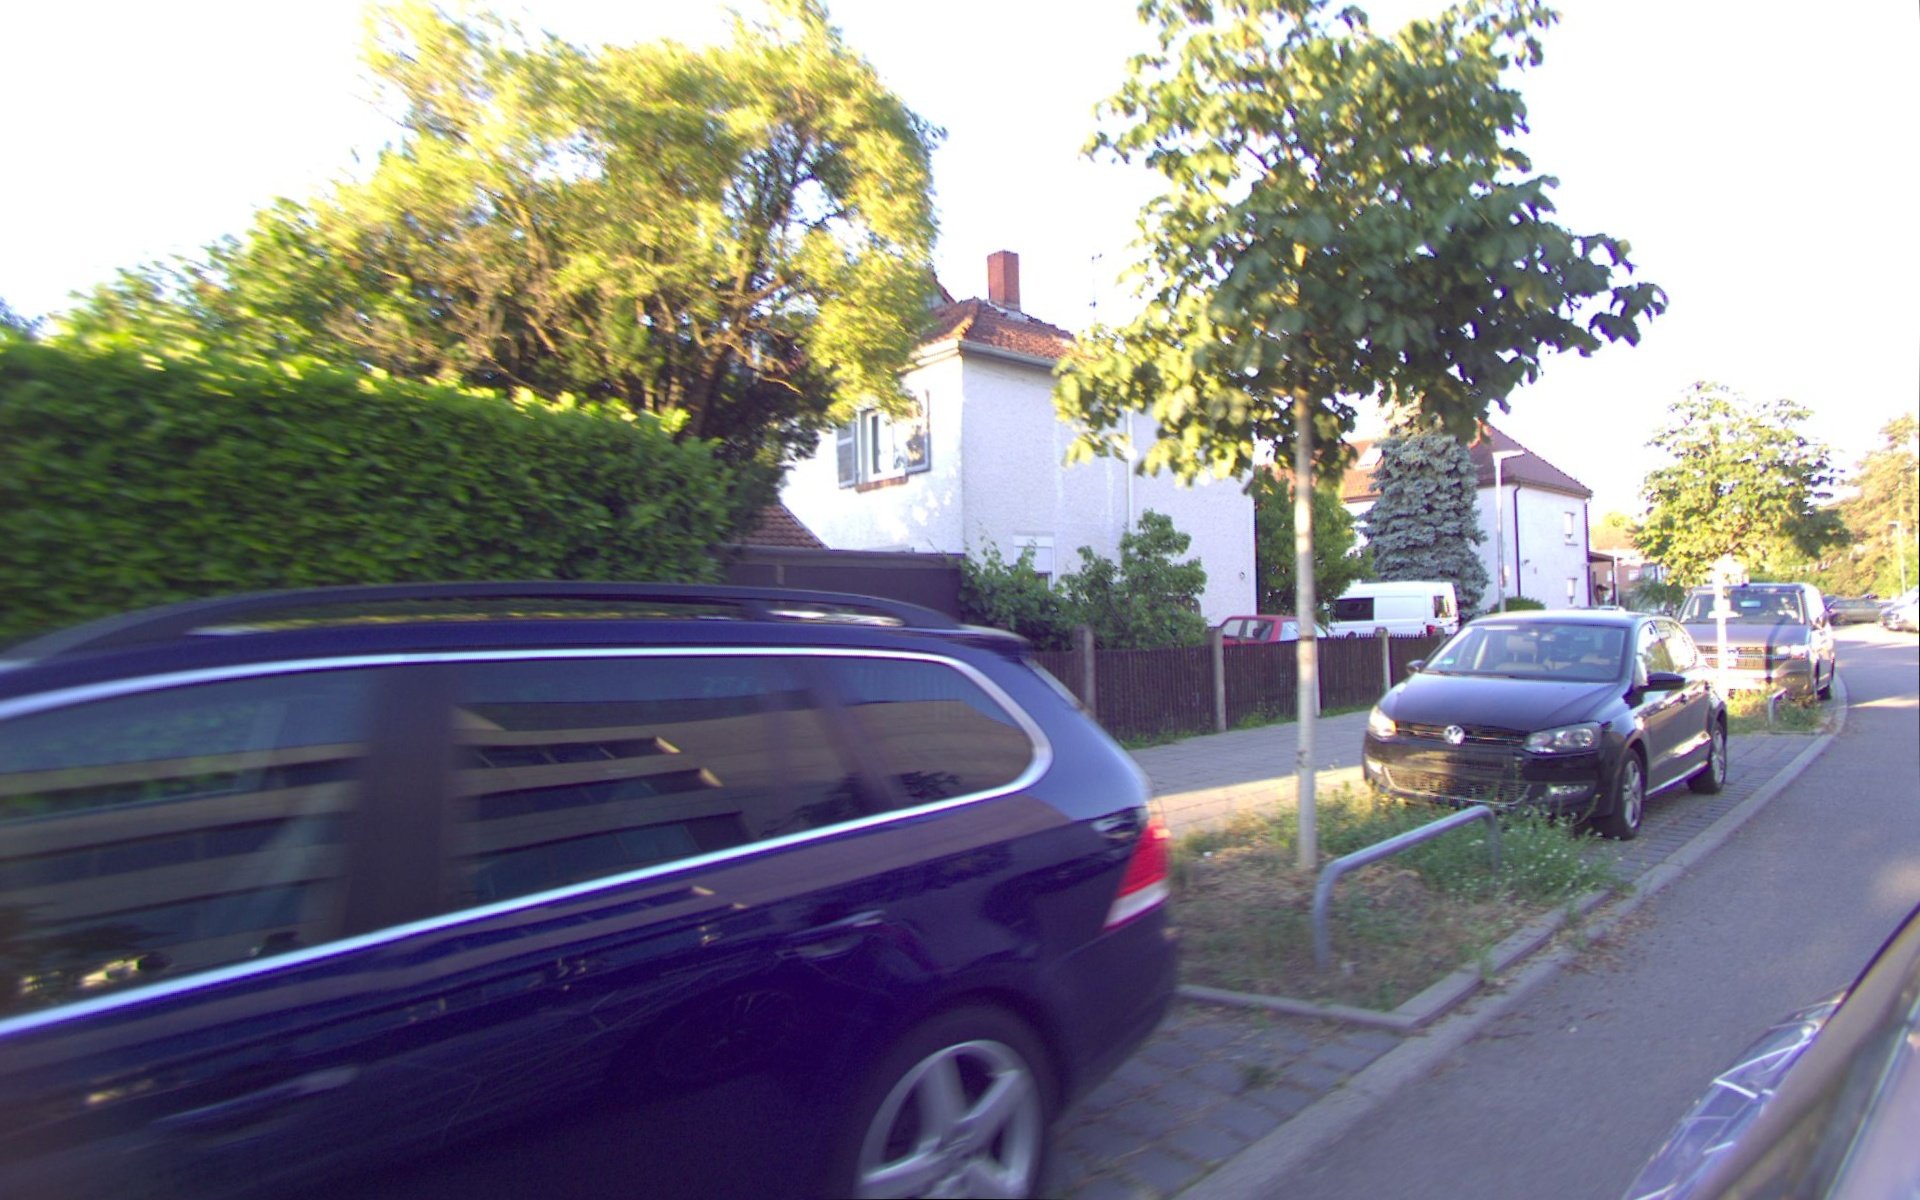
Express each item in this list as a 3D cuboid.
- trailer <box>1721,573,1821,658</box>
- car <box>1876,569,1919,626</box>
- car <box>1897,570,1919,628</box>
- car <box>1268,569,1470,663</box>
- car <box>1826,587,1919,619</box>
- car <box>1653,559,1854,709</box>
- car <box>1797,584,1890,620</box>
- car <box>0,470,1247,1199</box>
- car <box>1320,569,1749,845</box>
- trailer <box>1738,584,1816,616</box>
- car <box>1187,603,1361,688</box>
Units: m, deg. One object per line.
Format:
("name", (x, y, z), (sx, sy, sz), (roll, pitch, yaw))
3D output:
("trailer", (23.351, 0.444, 29.313), (2.059, 2.240, 5.152), (-1, -1, 37))
("car", (50.464, -0.302, 50.600), (6.340, 2.748, 2.095), (-4, -2, 25))
("car", (47.855, -0.216, 47.014), (5.793, 2.748, 2.028), (-4, -3, 30))
("car", (12.825, 0.582, 32.079), (2.018, 2.728, 5.568), (2, -4, -42))
("car", (54.828, 0.202, 60.871), (3.911, 1.674, 1.726), (-5, -3, 35))
("car", (13.264, 0.501, 16.799), (2.065, 2.122, 4.793), (-2, -1, 44))
("car", (55.323, 0.157, 63.443), (3.887, 1.936, 1.737), (-4, -3, 19))
("car", (-1.508, 0.651, 1.893), (4.467, 1.570, 1.714), (0, -1, -40))
("car", (4.439, 0.626, 7.628), (3.577, 1.572, 1.742), (0, -1, -42))
("trailer", (68.944, 0.007, 85.493), (4.772, 2.463, 2.109), (-4, -1, 34))
("car", (6.015, 0.806, 19.243), (3.577, 1.463, 1.530), (0, -1, -42))
